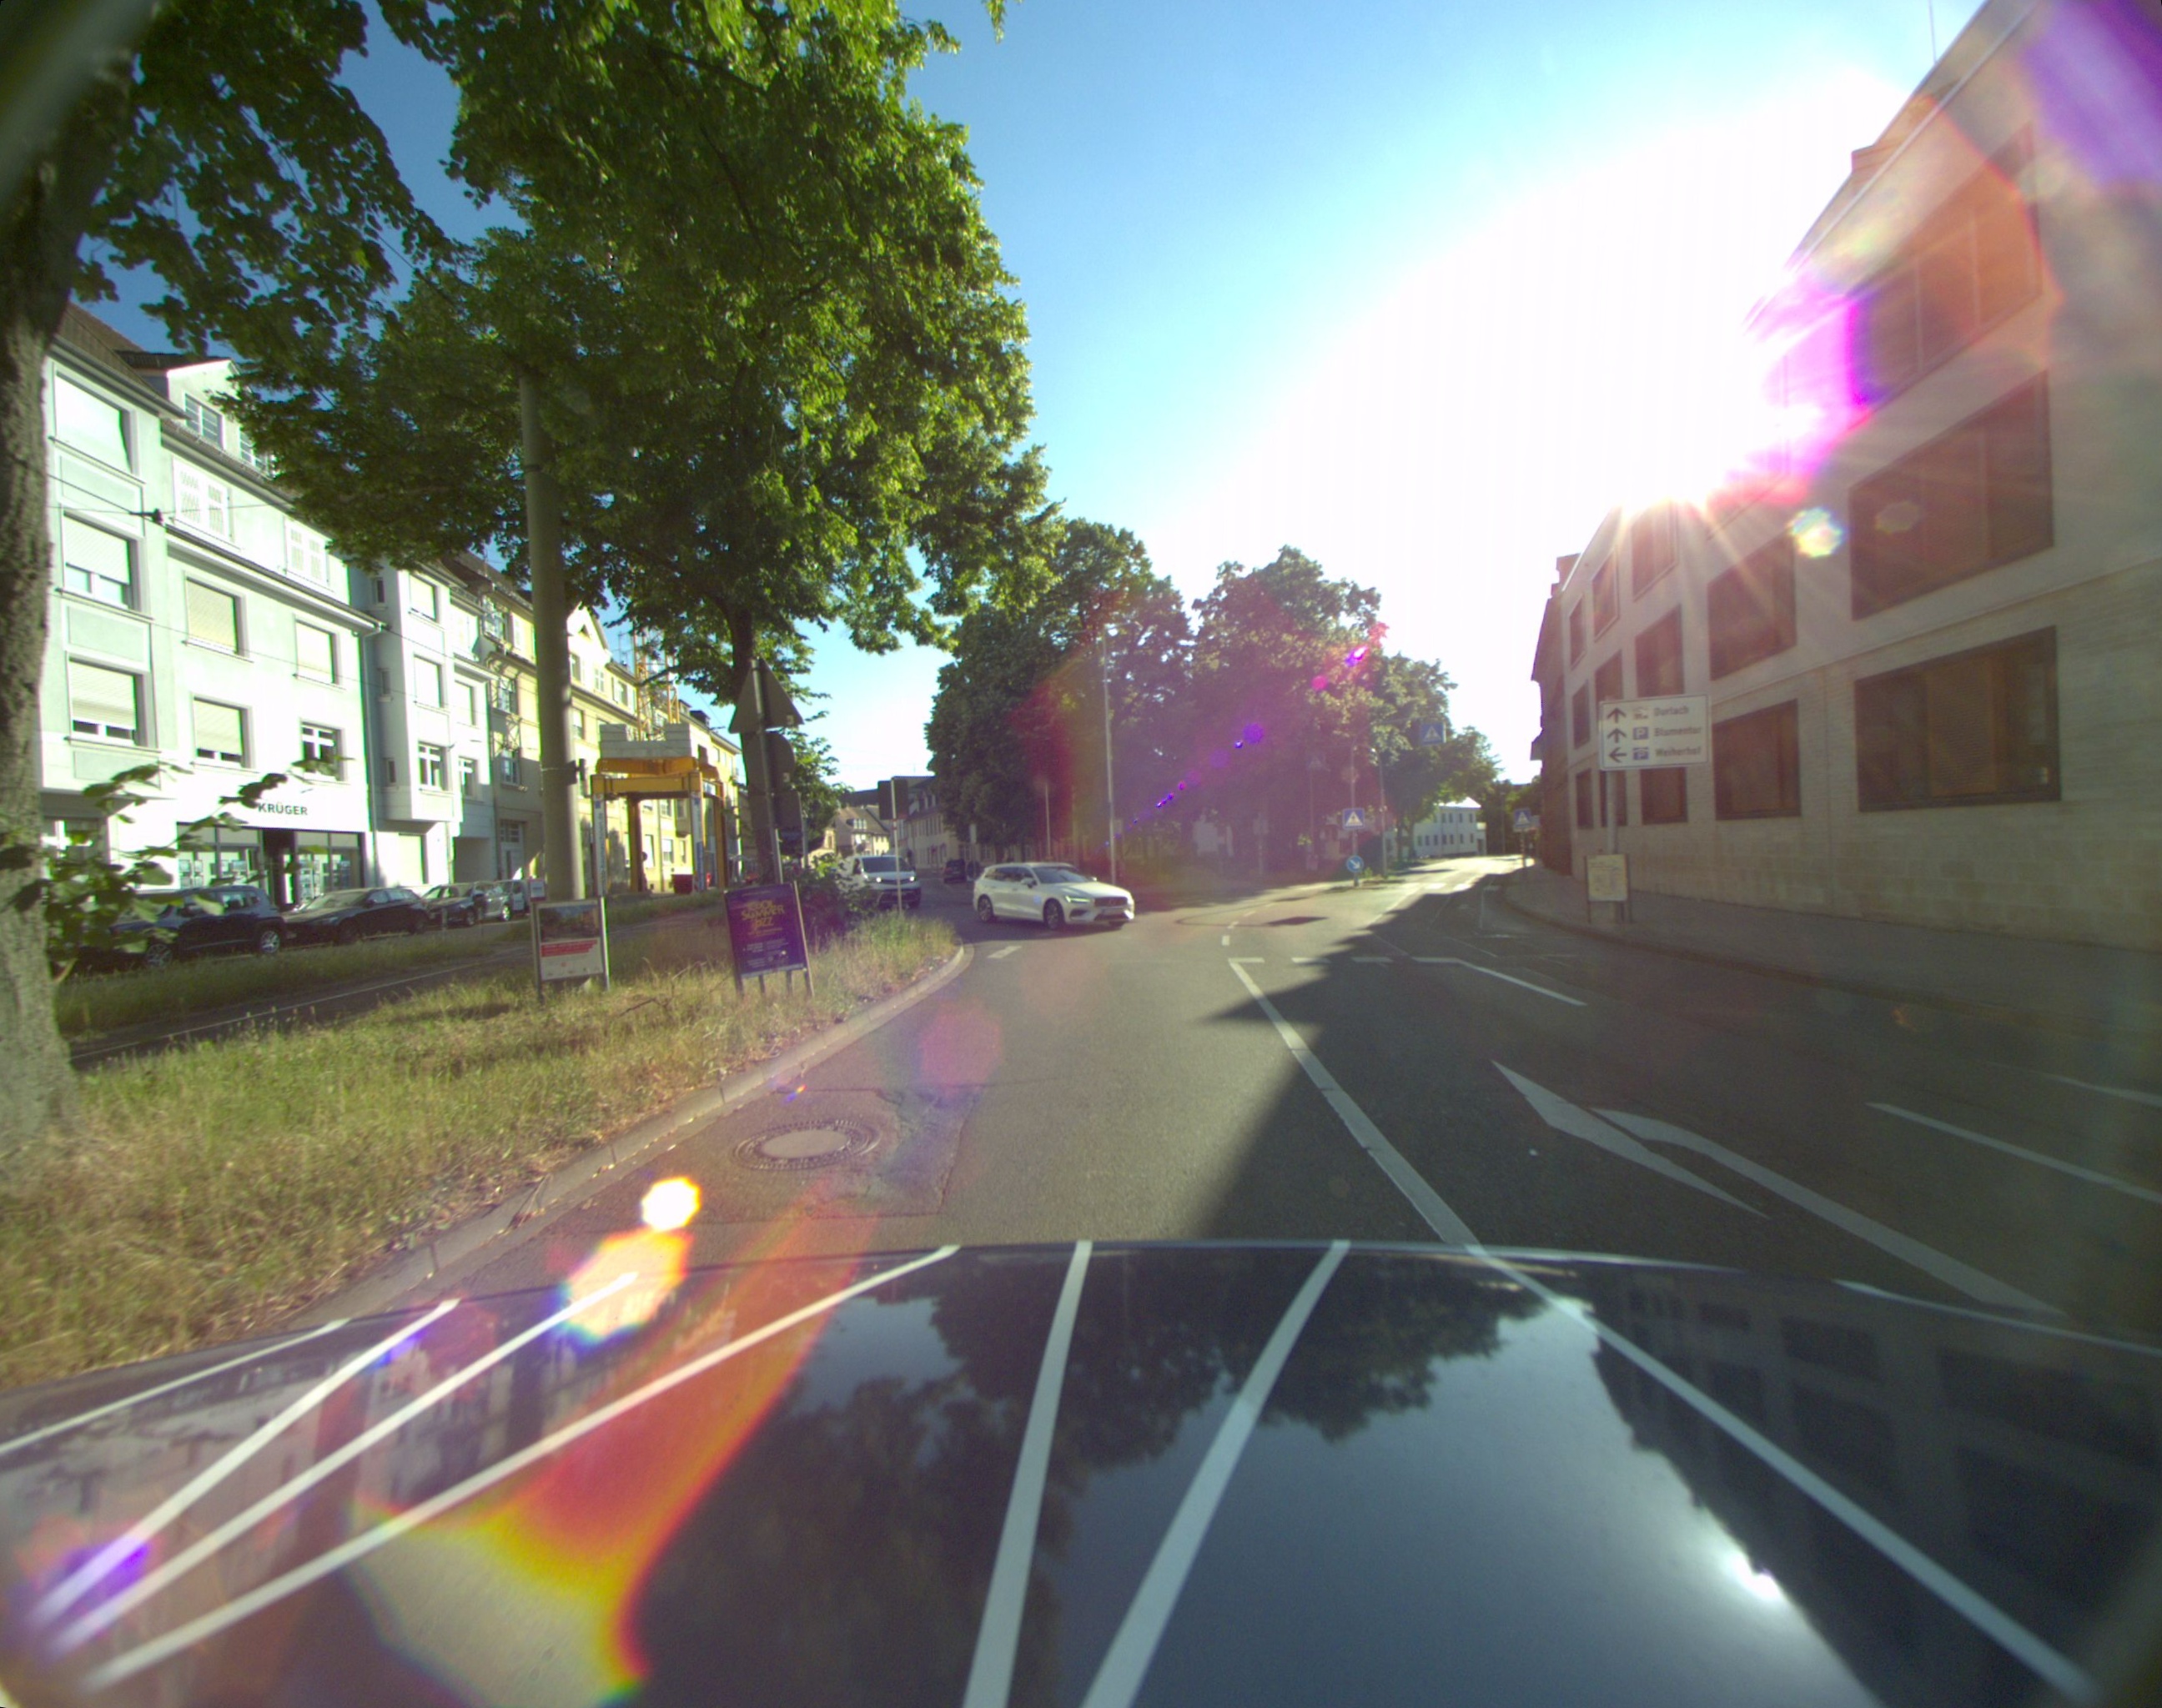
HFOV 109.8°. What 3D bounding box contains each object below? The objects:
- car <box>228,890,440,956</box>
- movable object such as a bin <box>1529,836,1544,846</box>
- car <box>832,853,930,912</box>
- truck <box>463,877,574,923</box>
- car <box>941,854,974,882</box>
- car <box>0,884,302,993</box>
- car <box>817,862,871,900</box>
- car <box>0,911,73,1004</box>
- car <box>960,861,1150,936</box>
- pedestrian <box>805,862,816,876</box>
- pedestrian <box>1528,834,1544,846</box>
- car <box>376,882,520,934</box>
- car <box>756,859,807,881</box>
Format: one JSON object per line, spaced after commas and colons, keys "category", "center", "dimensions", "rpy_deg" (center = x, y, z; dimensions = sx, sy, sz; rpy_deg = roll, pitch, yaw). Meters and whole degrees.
{"category": "car", "center": [-19.752, 1.752, 20.403], "dimensions": [2.000, 1.378, 4.206], "rpy_deg": [-2, 0, -10]}
{"category": "movable object such as a bin", "center": [48.823, -1.378, 81.434], "dimensions": [0.842, 0.923, 1.036], "rpy_deg": [-4, -1, -25]}
{"category": "car", "center": [-7.223, 0.967, 27.031], "dimensions": [2.003, 1.843, 4.891], "rpy_deg": [-2, 0, -31]}
{"category": "truck", "center": [-22.187, 1.747, 30.186], "dimensions": [2.001, 1.576, 4.093], "rpy_deg": [-2, 0, -13]}
{"category": "car", "center": [-8.713, 0.935, 53.426], "dimensions": [2.000, 1.783, 3.995], "rpy_deg": [-3, 1, -12]}
{"category": "car", "center": [-18.686, 1.567, 15.434], "dimensions": [2.001, 1.738, 4.205], "rpy_deg": [-2, 0, -13]}
{"category": "car", "center": [-10.144, 1.108, 32.377], "dimensions": [2.002, 1.436, 4.066], "rpy_deg": [-2, 0, -19]}
{"category": "car", "center": [-17.495, 1.644, 10.422], "dimensions": [2.001, 1.378, 4.441], "rpy_deg": [-2, 0, -13]}
{"category": "car", "center": [-0.754, 0.956, 17.542], "dimensions": [1.858, 1.455, 4.760], "rpy_deg": [-2, -1, -39]}
{"category": "pedestrian", "center": [-37.967, 2.095, 106.677], "dimensions": [1.357, 2.002, 1.156], "rpy_deg": [-2, 1, -21]}
{"category": "pedestrian", "center": [48.777, -1.511, 81.517], "dimensions": [0.842, 1.222, 1.156], "rpy_deg": [-4, -1, -25]}
{"category": "car", "center": [-20.835, 1.718, 25.266], "dimensions": [2.001, 1.444, 4.093], "rpy_deg": [-2, 0, -13]}
{"category": "car", "center": [-27.681, 1.475, 70.390], "dimensions": [4.074, 1.910, 1.998], "rpy_deg": [-2, 0, -15]}
